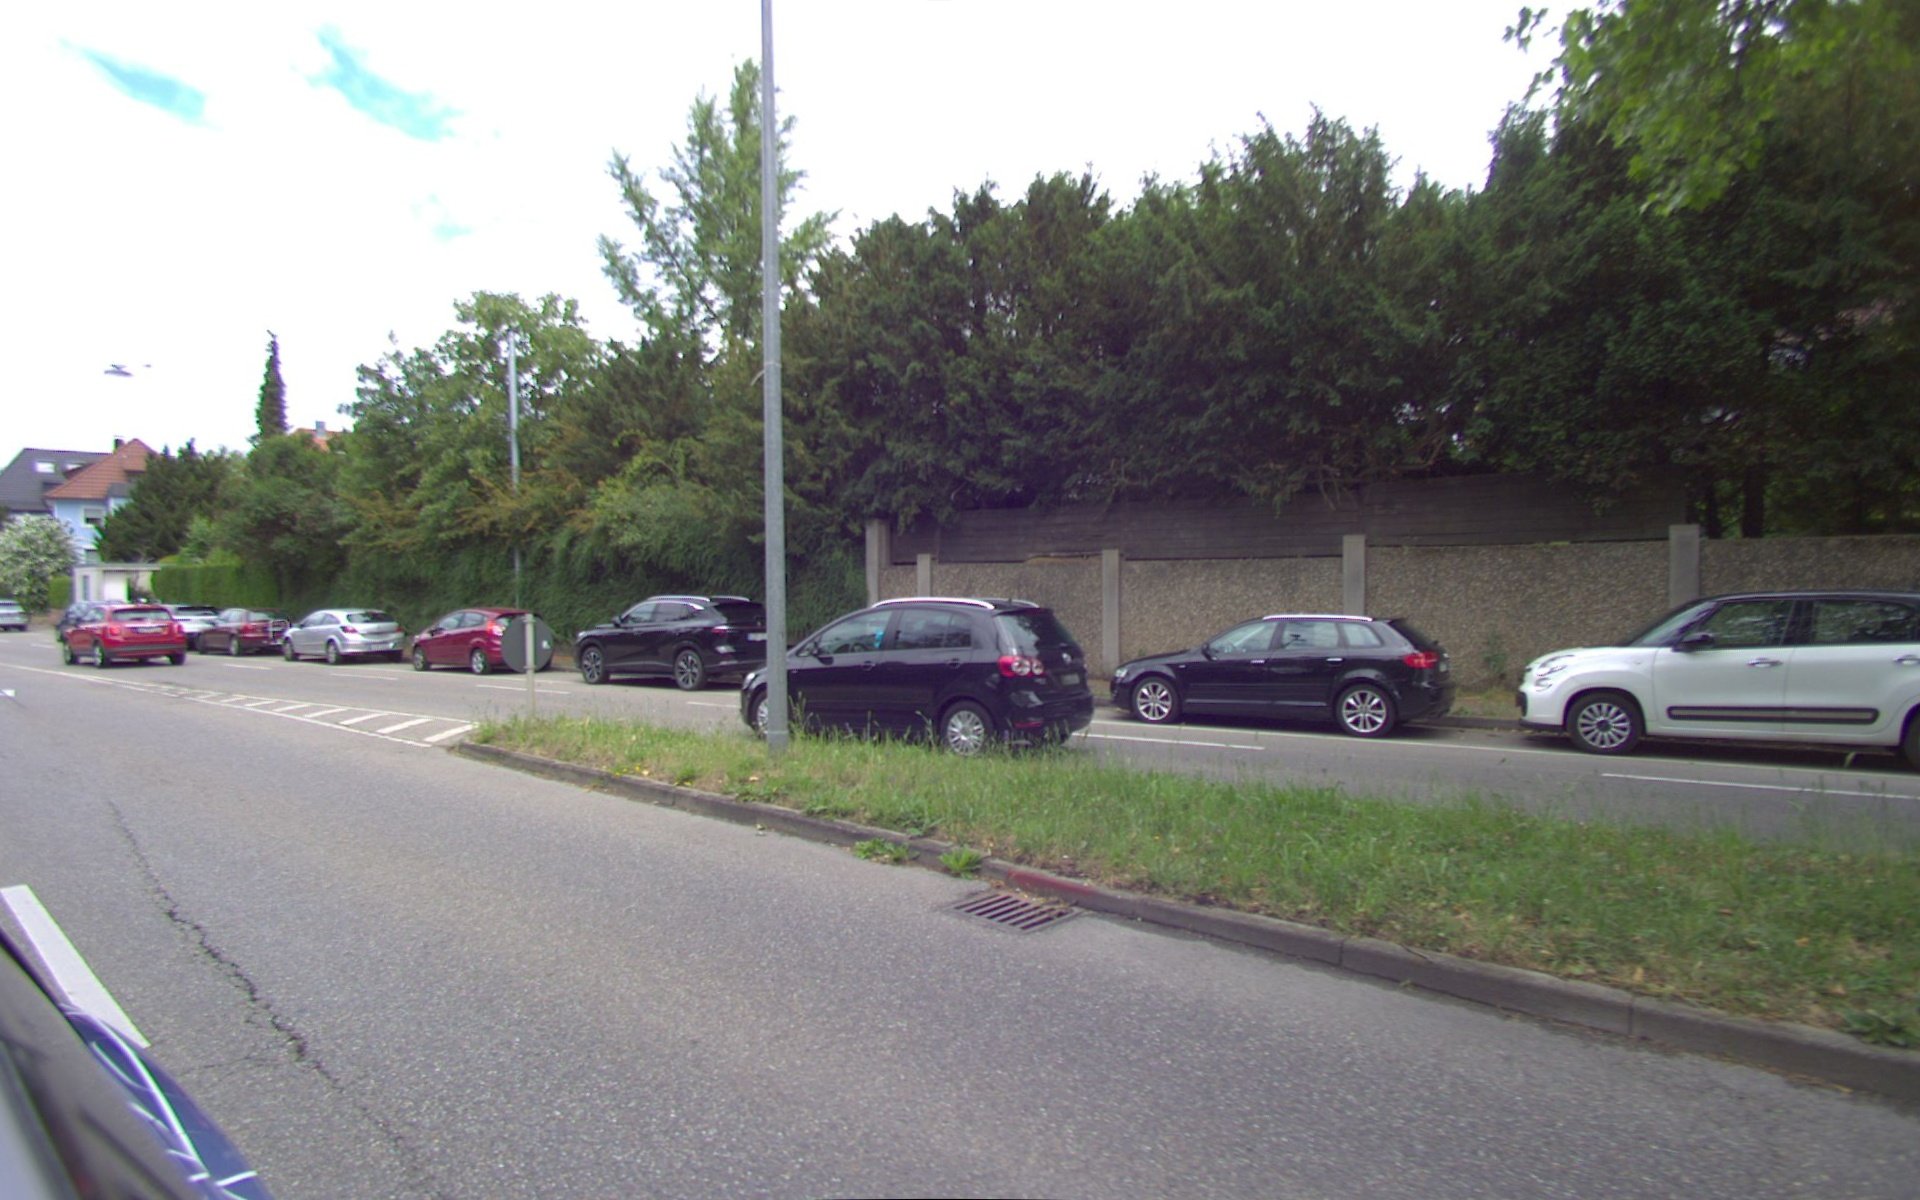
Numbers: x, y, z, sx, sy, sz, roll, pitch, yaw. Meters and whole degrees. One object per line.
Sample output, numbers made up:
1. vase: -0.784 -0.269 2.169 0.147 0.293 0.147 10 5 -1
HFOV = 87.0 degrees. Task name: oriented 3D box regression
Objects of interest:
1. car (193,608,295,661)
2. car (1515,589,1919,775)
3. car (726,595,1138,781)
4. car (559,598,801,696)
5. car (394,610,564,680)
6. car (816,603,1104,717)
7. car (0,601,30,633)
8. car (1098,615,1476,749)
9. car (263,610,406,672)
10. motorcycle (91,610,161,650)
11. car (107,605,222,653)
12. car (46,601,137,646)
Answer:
1. car: -21.714 0.996 30.659 3.909 1.489 1.652 0 0 41
2. car: 7.892 0.724 9.991 4.087 1.604 1.658 0 -1 35
3. car: -0.366 0.754 10.702 3.988 1.599 1.981 0 0 35
4. car: -5.310 0.788 19.043 4.454 1.655 1.977 0 0 34
5. car: -11.099 0.965 23.290 3.989 1.449 1.765 0 0 34
6. car: -0.052 0.827 15.616 4.094 1.523 1.930 0 -1 35
7. car: -44.818 0.767 46.674 4.401 1.466 1.794 0 -2 34
8. car: 3.975 0.903 12.603 4.212 1.412 1.633 0 -2 35
9. car: -16.849 1.042 27.205 4.420 1.499 1.655 0 0 35
10. motorcycle: -30.064 1.081 36.496 2.288 1.366 0.883 -2 -2 19
11. car: -26.451 0.921 33.631 4.016 1.506 1.874 0 -1 34
12. car: -32.967 0.862 38.405 3.962 1.568 1.664 1 0 35
